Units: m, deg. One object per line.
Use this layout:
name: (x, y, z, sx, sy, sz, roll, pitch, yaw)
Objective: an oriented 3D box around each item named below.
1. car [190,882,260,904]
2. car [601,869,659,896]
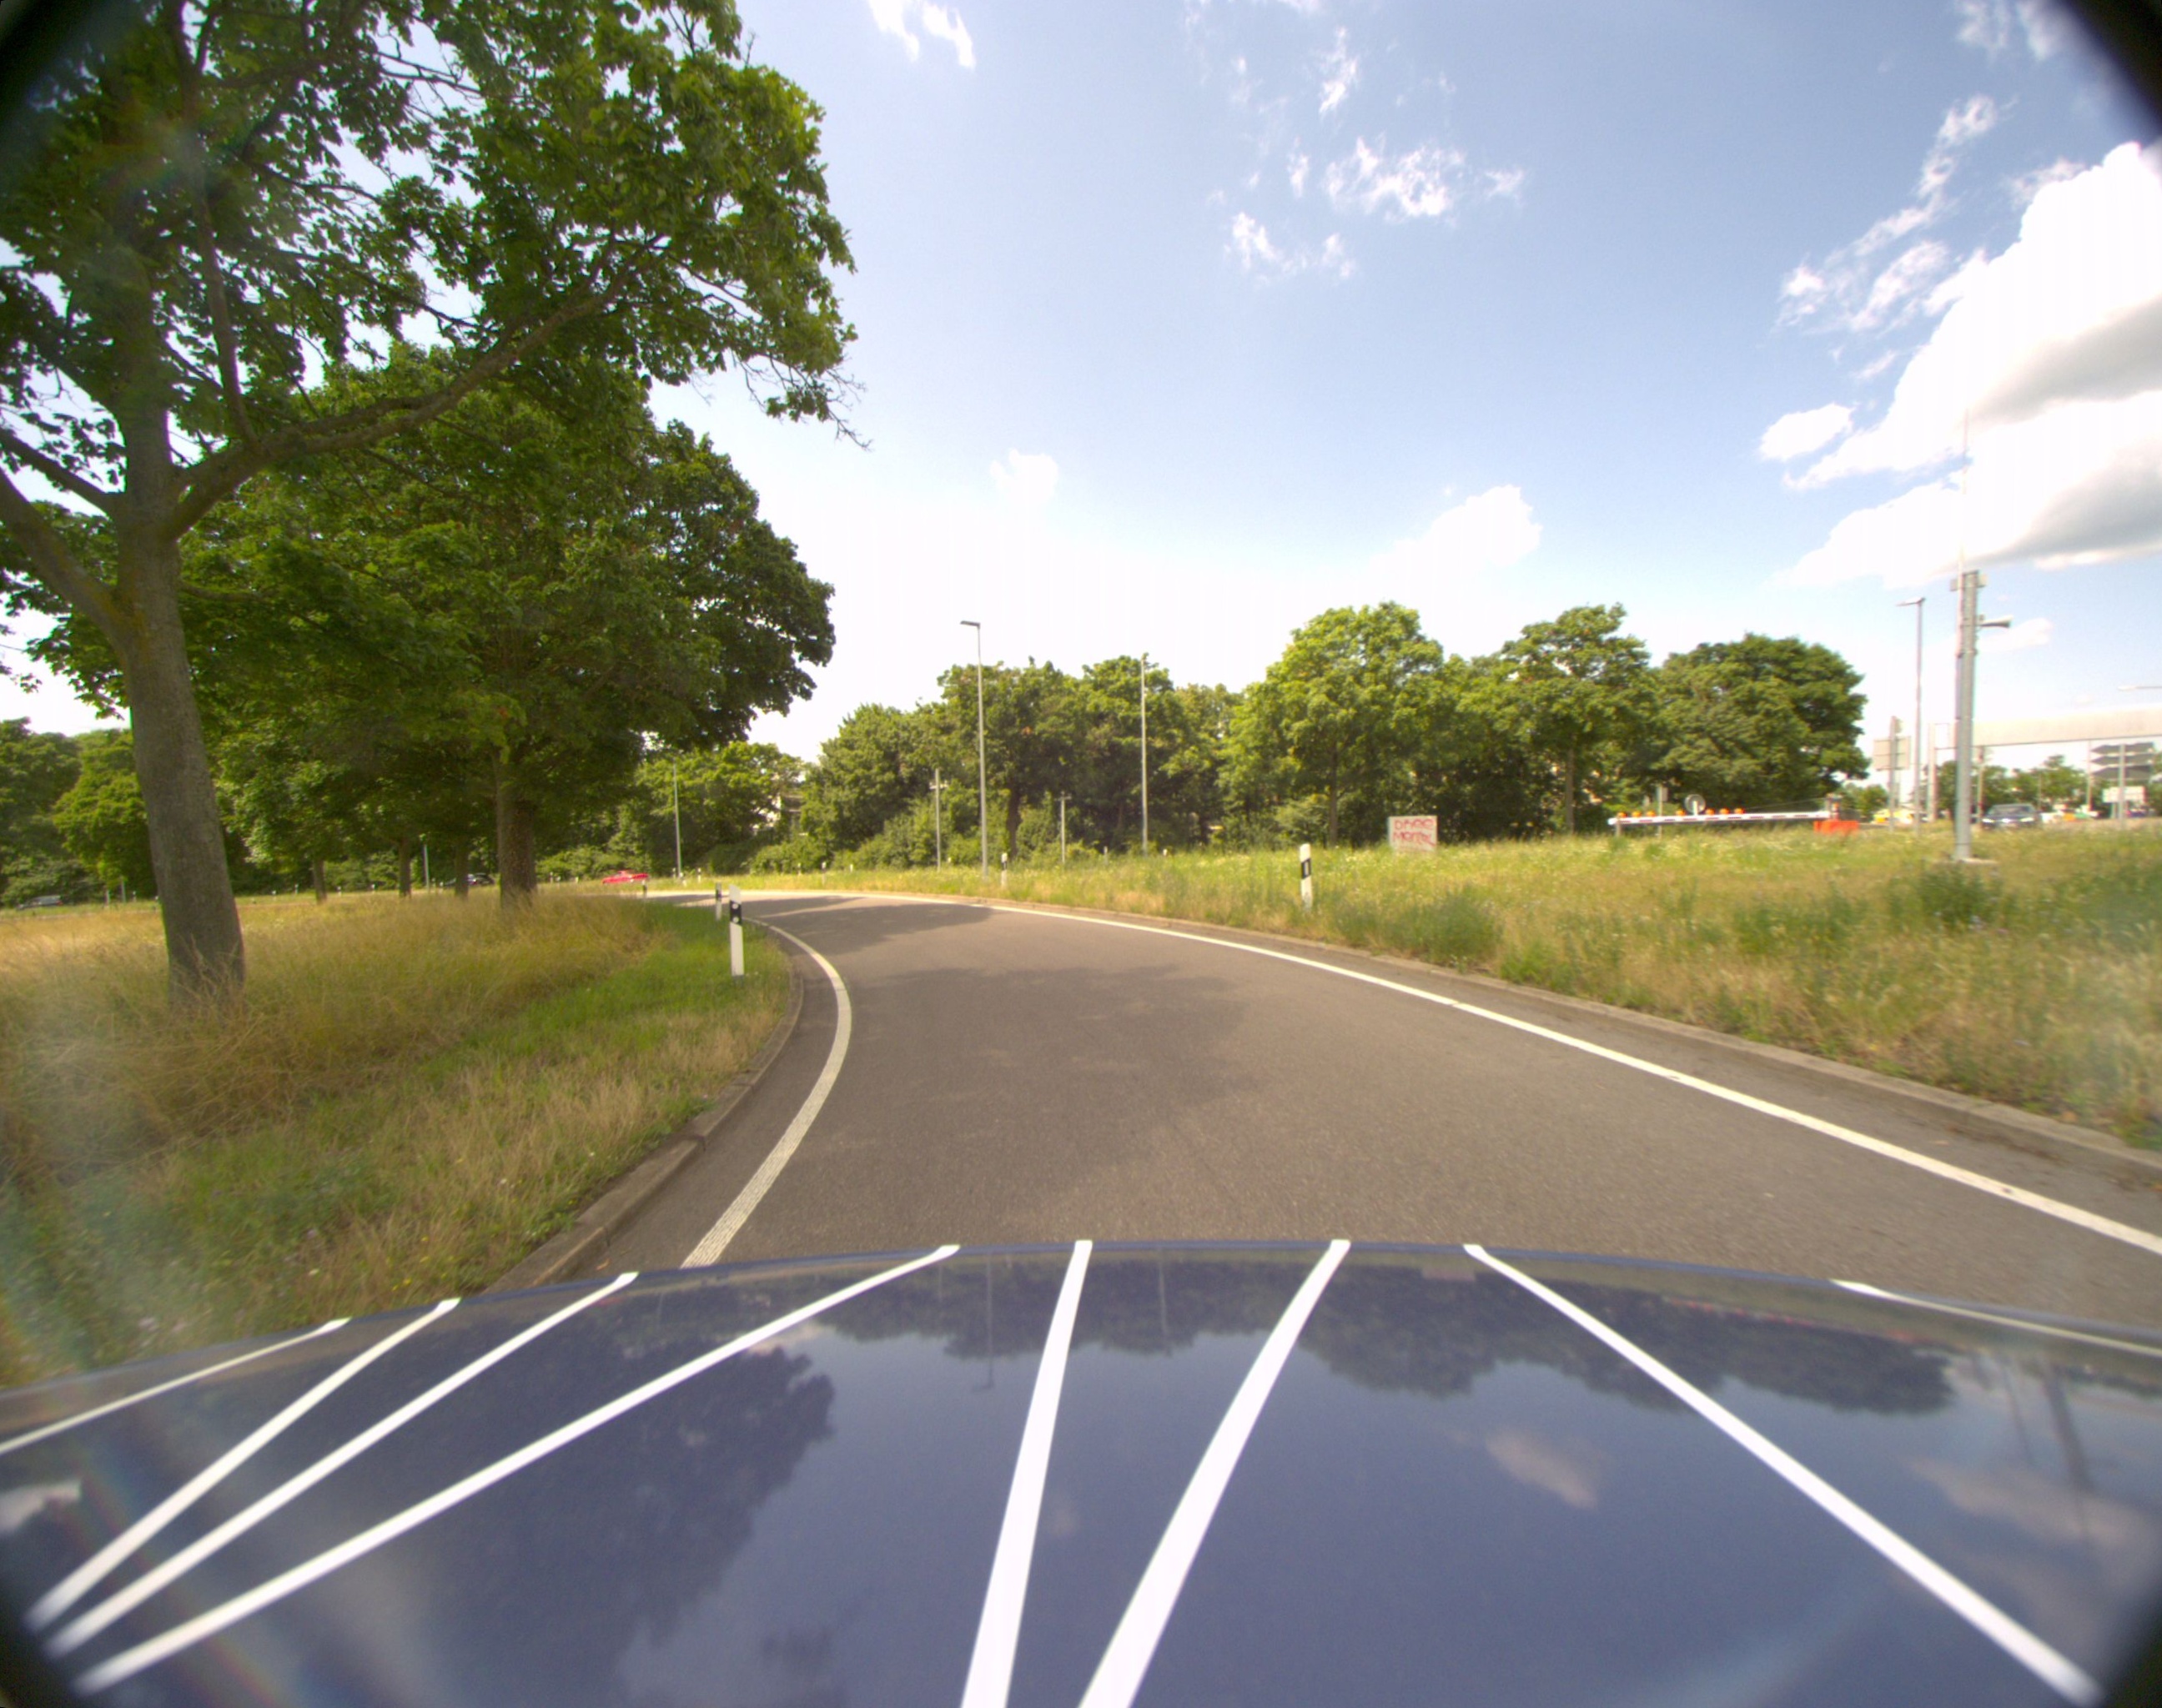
car: (-81.865, 3.723, 72.731, 4.000, 1.871, 1.998, -2, 1, -8)
car: (-35.288, 2.222, 59.392, 3.990, 2.002, 2.003, -2, 1, 27)
